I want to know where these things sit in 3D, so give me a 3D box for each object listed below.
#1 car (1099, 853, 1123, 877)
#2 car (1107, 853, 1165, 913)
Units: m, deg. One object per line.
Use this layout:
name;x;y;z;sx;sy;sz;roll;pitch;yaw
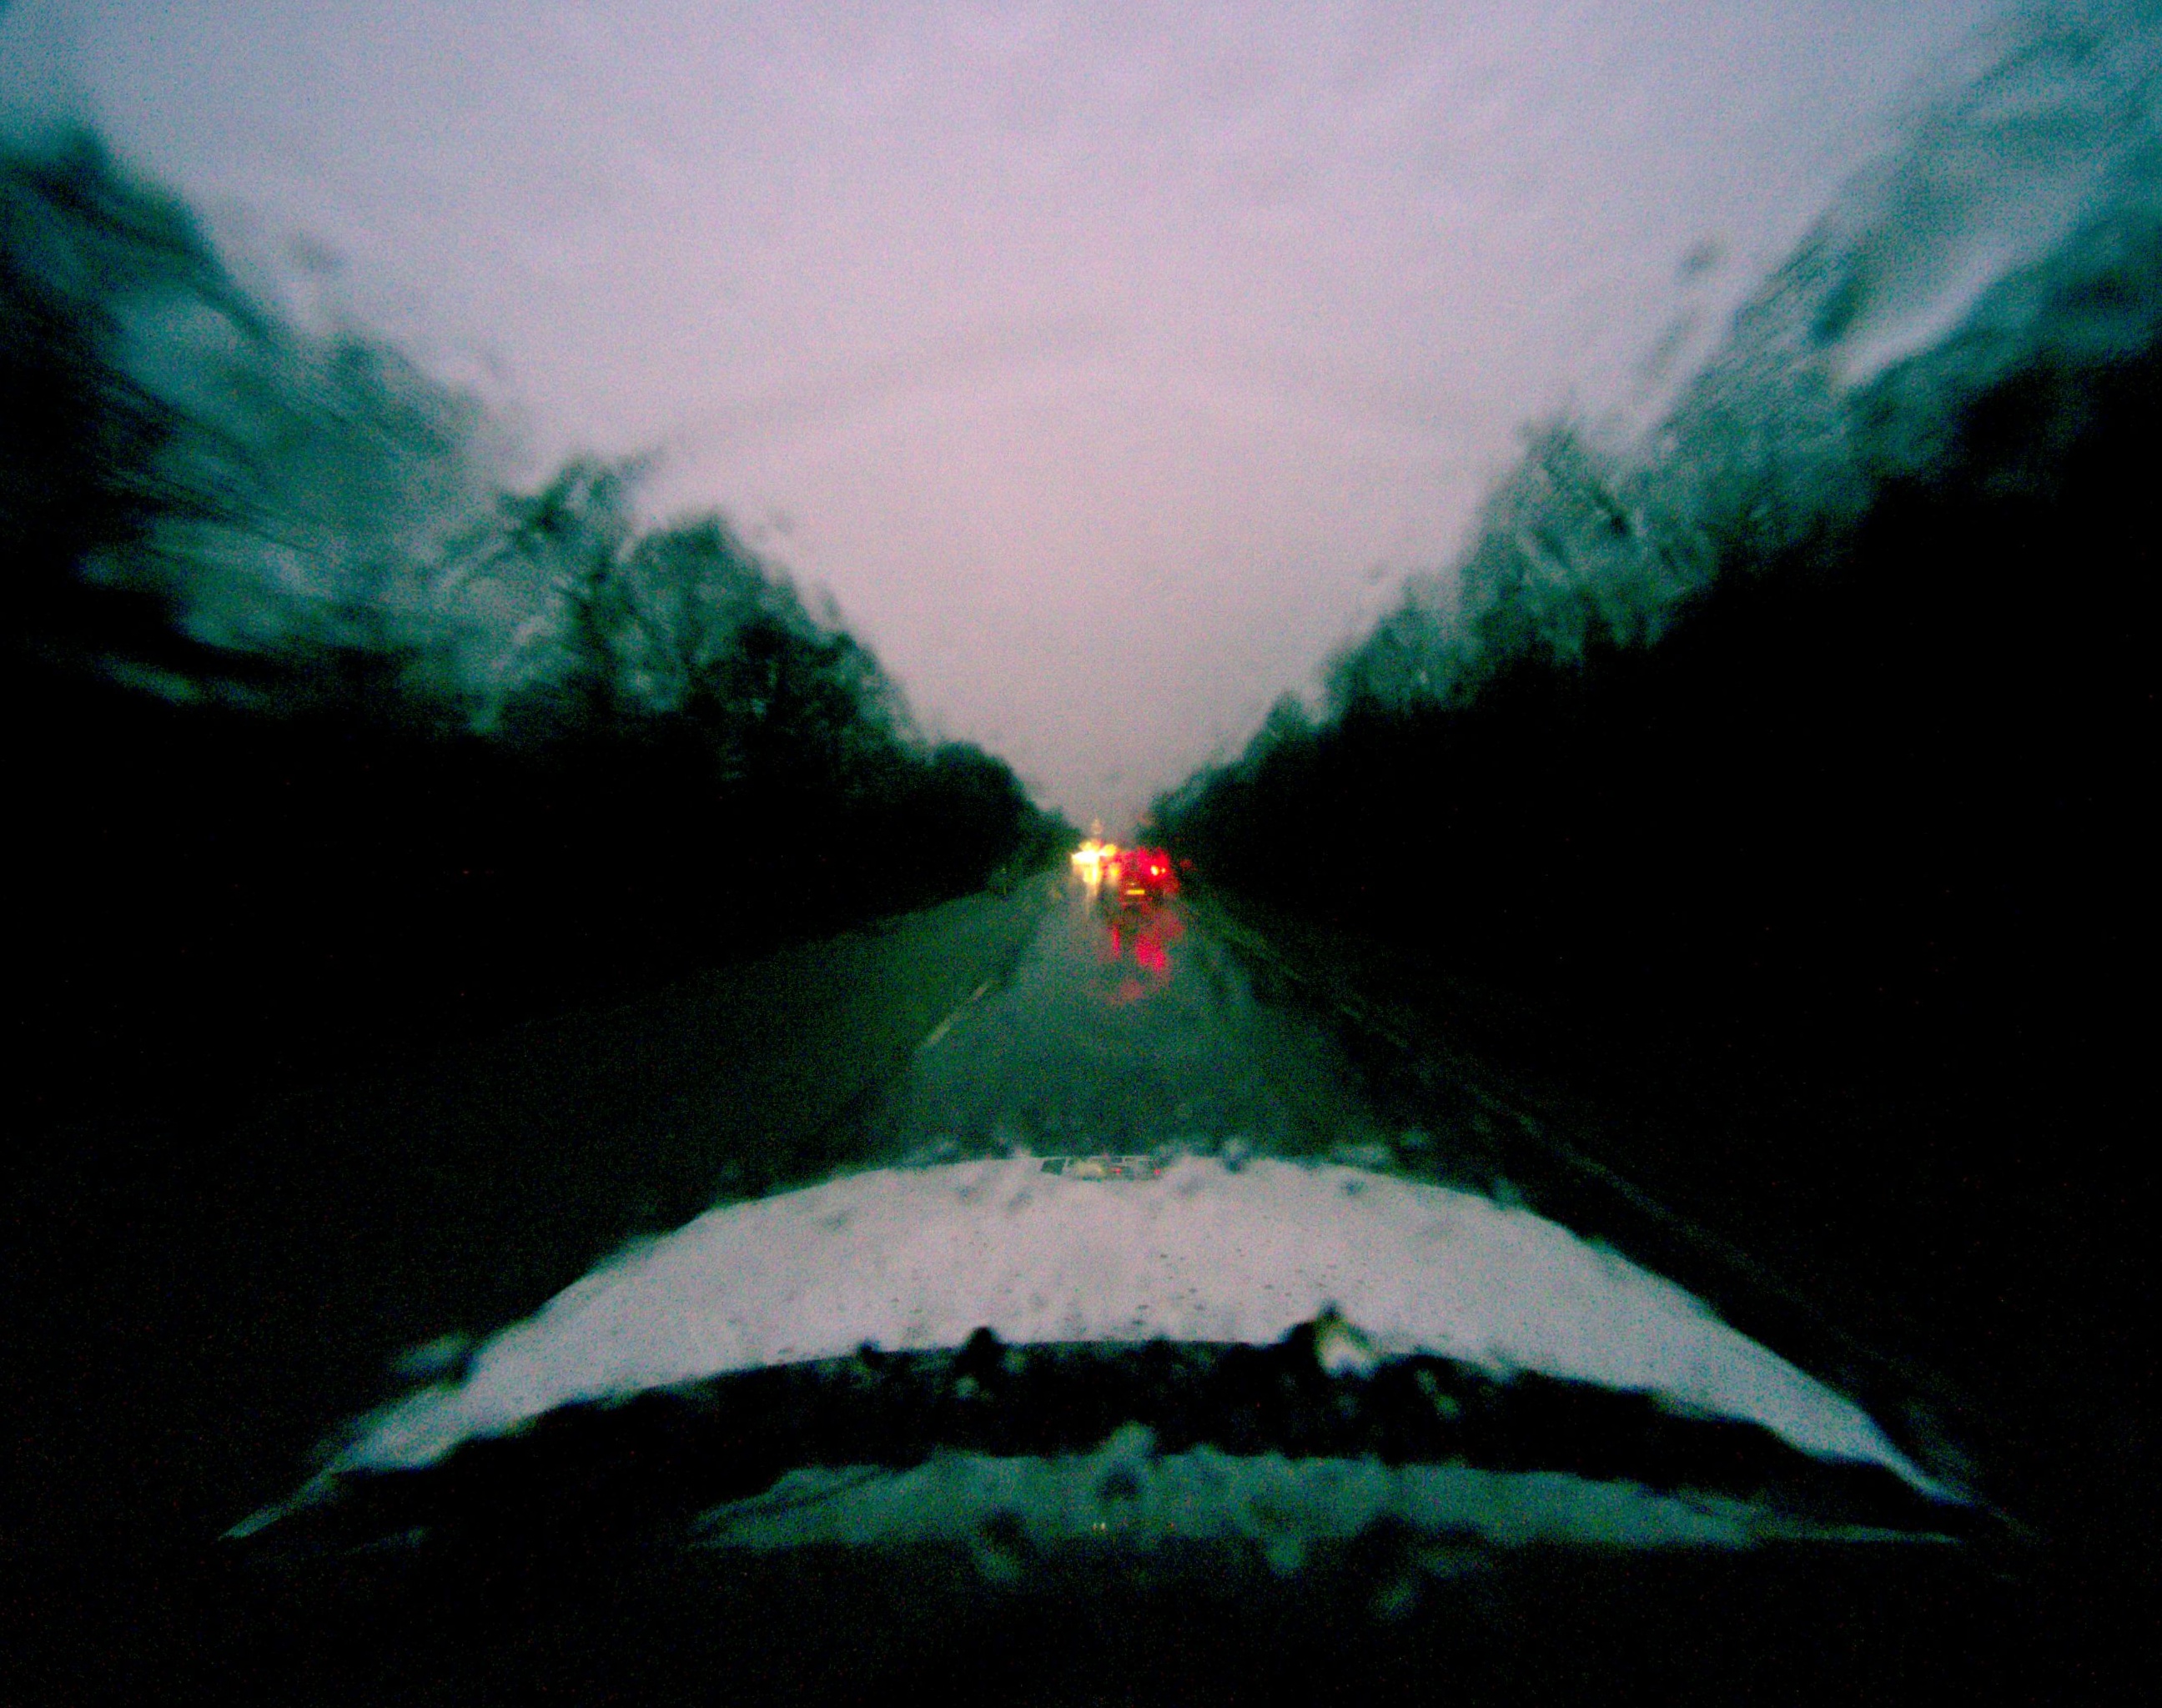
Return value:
car;2.309;0.838;62.601;1.726;1.779;4.001;-1;0;2
car;1.674;0.836;25.056;1.641;1.672;3.517;-1;0;3
